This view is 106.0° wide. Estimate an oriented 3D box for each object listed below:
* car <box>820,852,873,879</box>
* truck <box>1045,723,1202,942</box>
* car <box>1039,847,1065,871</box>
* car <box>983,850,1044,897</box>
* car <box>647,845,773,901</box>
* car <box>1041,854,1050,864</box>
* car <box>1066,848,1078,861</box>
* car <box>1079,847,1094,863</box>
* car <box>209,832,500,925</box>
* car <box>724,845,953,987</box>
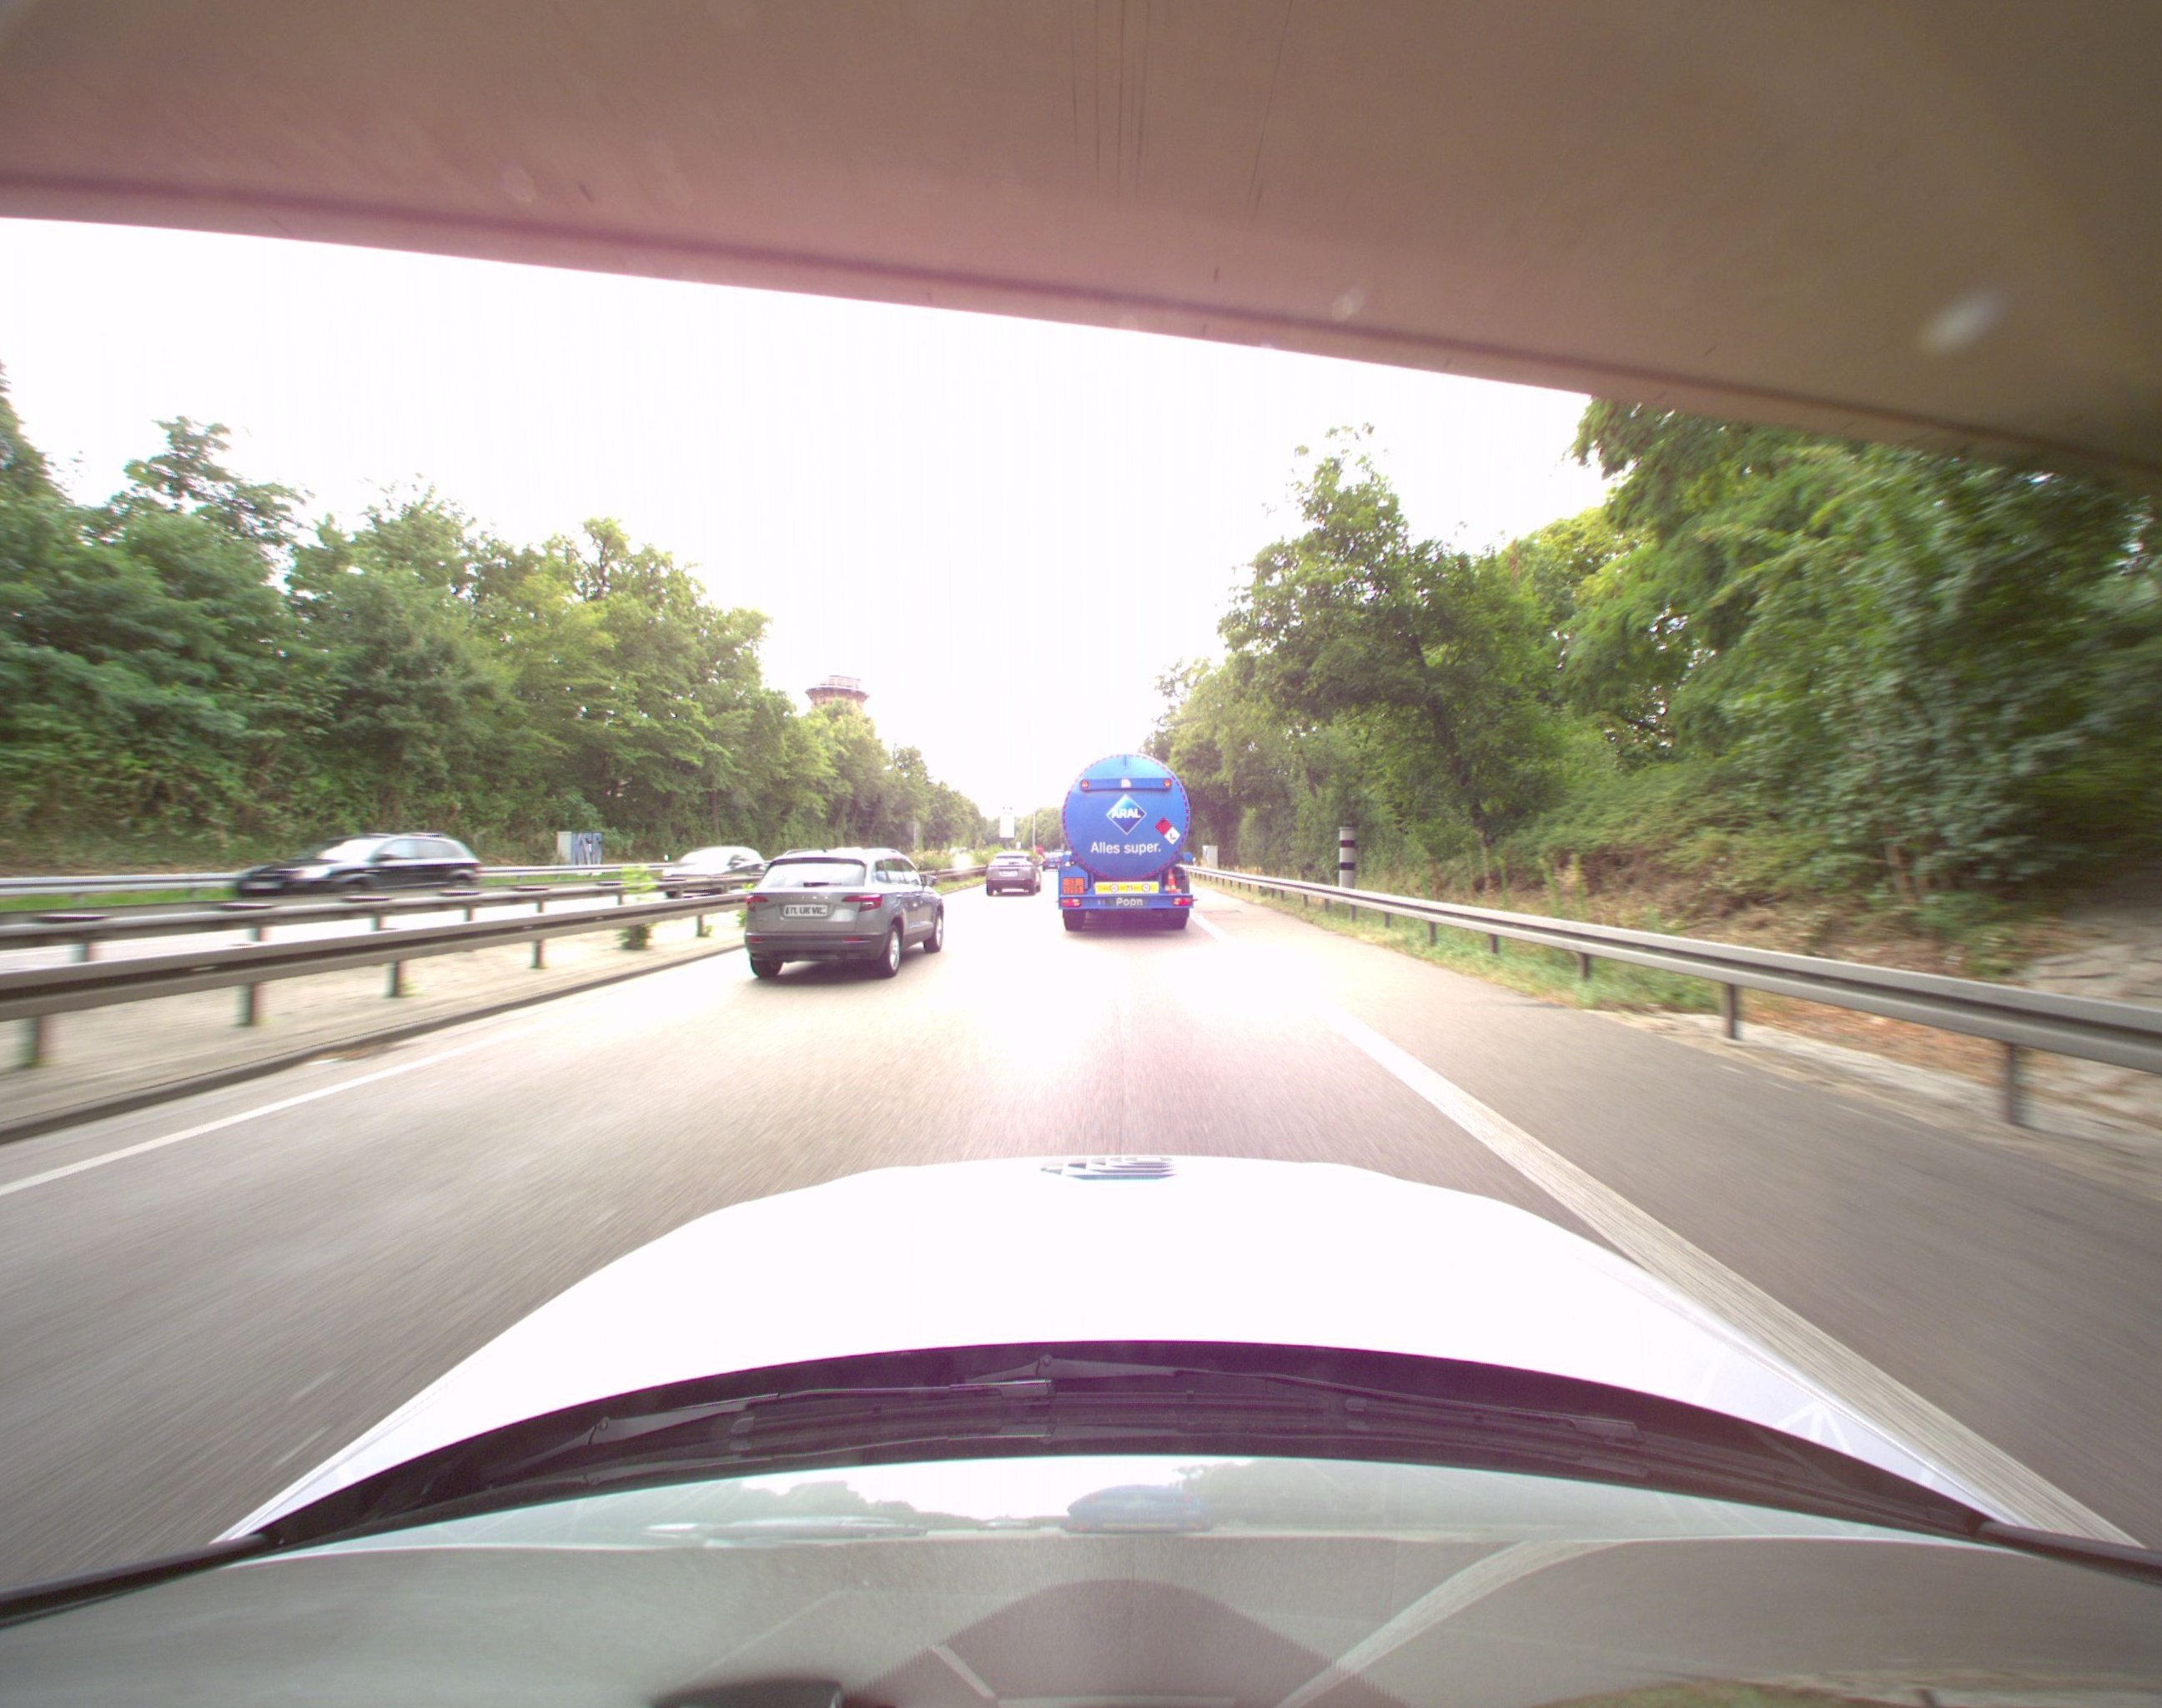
[{"bbox_3d":[-14.776,0.717,51.530,1.886,1.652,4.641,0,-1,2],"label":"car"},{"bbox_3d":[0.873,-0.354,18.218,2.745,3.847,7.691,0,-1,2],"label":"truck"},{"bbox_3d":[-2.431,0.413,69.554,1.986,2.014,4.001,0,-1,2],"label":"car"},{"bbox_3d":[-2.454,0.704,30.732,1.819,1.609,4.169,0,-1,2],"label":"car"},{"bbox_3d":[-10.548,0.514,23.470,1.682,1.463,3.991,0,-1,2],"label":"car"},{"bbox_3d":[-8.843,1.252,202.245,1.990,2.244,3.992,0,-1,-5],"label":"car"},{"bbox_3d":[-1.532,0.175,145.055,1.986,2.244,4.001,0,-1,2],"label":"car"},{"bbox_3d":[0.807,0.192,116.614,1.986,2.244,4.001,0,-1,1],"label":"car"},{"bbox_3d":[-14.965,0.468,17.240,1.886,1.687,4.641,0,-1,2],"label":"car"},{"bbox_3d":[-3.089,0.722,11.340,1.819,1.609,4.169,0,-1,2],"label":"car"}]
